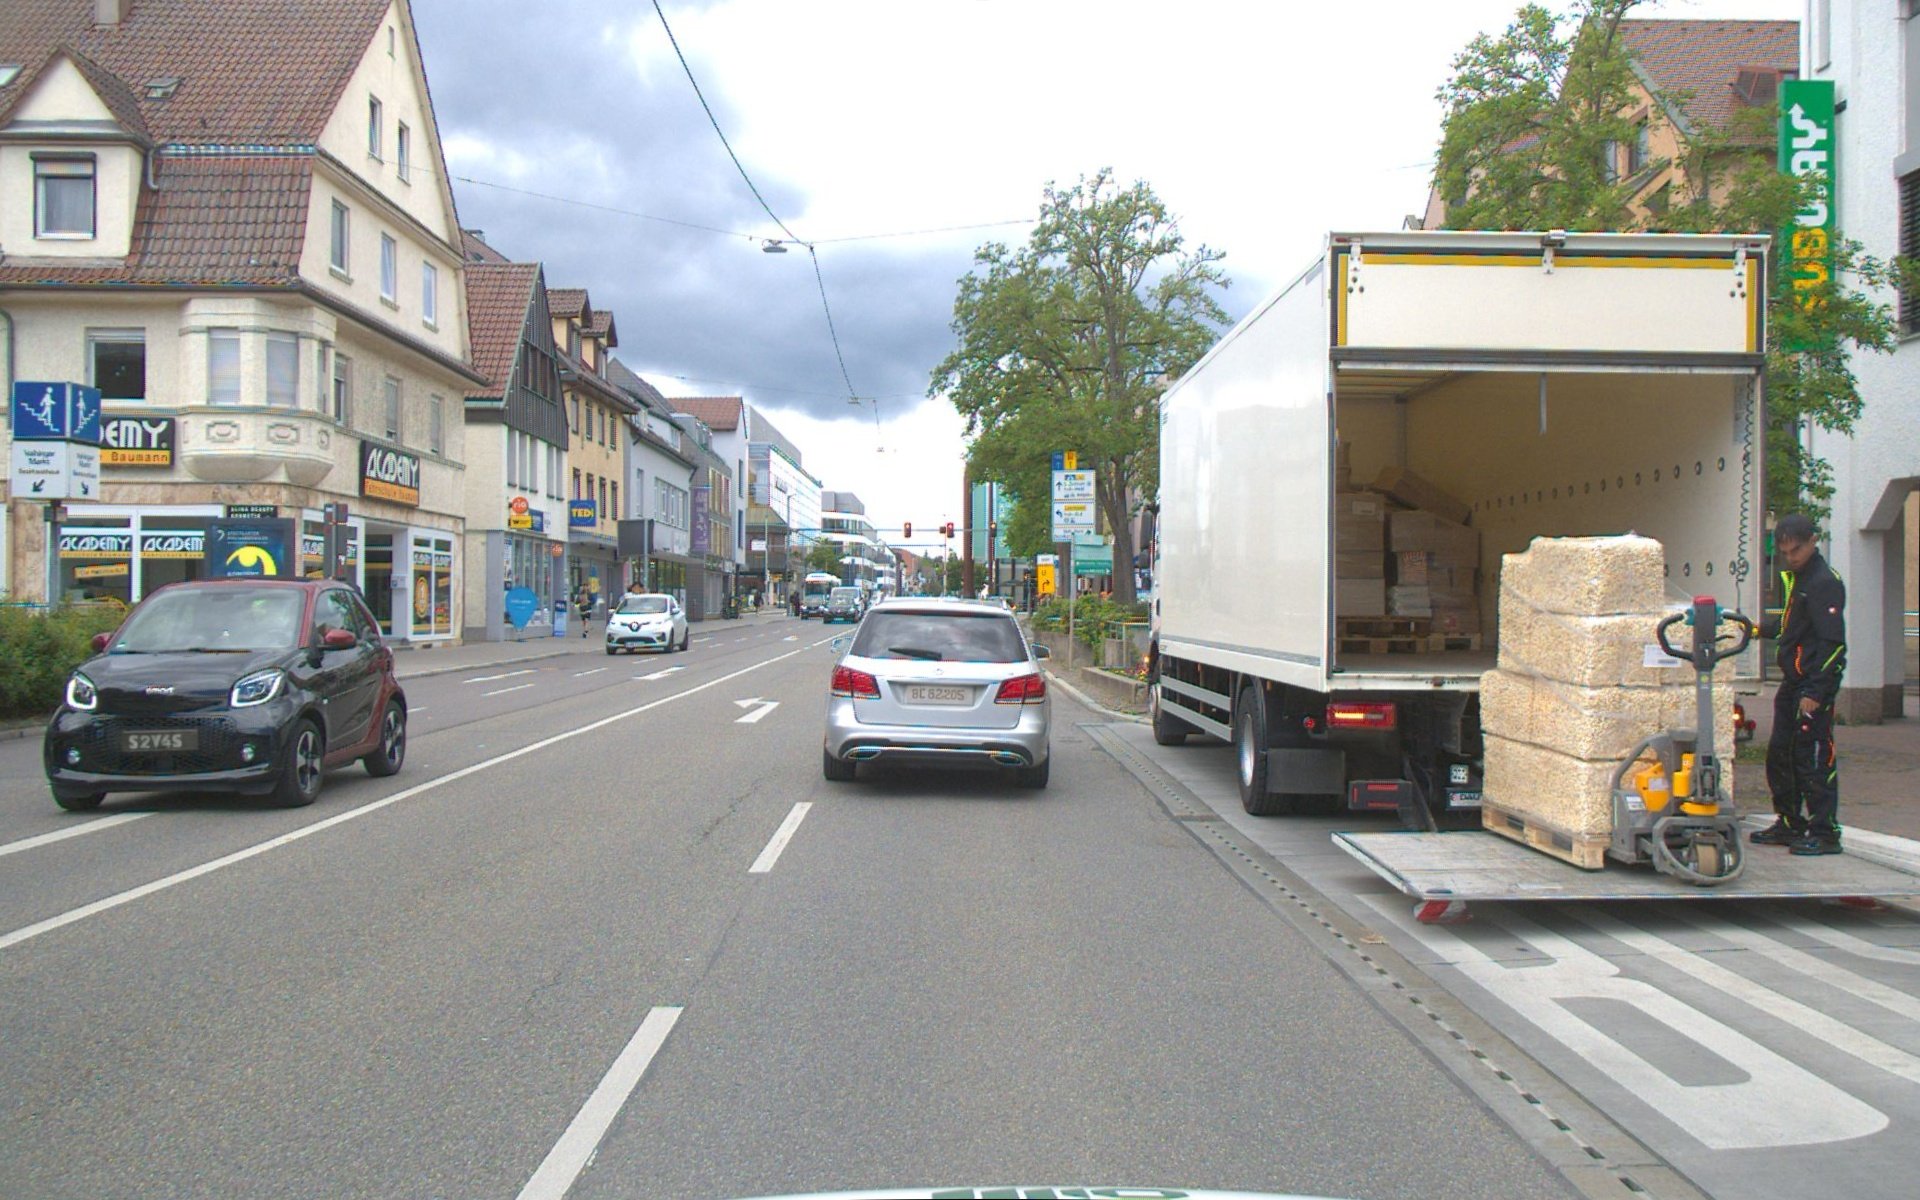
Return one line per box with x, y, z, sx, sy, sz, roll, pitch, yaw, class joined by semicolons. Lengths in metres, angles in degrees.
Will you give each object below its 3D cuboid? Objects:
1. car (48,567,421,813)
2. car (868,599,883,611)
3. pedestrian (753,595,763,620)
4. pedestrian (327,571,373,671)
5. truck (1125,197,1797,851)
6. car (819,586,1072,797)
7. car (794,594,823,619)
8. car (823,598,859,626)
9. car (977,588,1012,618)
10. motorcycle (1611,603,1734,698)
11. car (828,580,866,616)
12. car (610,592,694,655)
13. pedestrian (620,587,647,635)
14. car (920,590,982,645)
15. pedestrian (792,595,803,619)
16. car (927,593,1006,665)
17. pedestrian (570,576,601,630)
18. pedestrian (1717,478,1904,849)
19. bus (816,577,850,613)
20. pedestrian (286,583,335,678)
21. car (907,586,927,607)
-5.148;0.572;12.123;1.539;1.567;2.959;0;0;-3;car
-9.857;0.574;193.041;1.542;1.266;3.606;0;0;0;car
-13.592;0.508;111.223;0.574;1.663;0.614;3;0;-3;pedestrian
-11.568;0.391;31.367;0.620;1.856;0.680;0;0;-1;pedestrian
3.280;-0.438;14.079;2.634;3.623;9.764;0;0;-1;truck
-0.183;0.676;14.129;1.837;1.532;3.998;1;0;-3;car
-9.805;0.404;107.071;1.584;1.550;3.507;-1;0;-1;car
-6.319;0.629;87.946;1.584;1.453;3.922;0;0;0;car
2.024;0.188;97.711;1.953;1.713;4.000;0;0;0;car
10.202;0.695;23.774;0.722;1.293;2.106;0;0;-5;motorcycle
-6.708;-0.117;98.274;1.921;1.995;5.139;-1;0;-1;car
-8.157;0.620;44.076;1.607;1.595;3.925;0;-1;-2;car
-11.644;0.399;59.071;0.801;1.663;0.979;2;0;-6;pedestrian
-0.288;0.548;54.108;1.953;1.713;4.000;0;0;0;car
-11.349;0.502;115.562;0.601;1.663;0.588;3;0;-2;pedestrian
0.120;0.641;37.969;1.718;1.547;3.999;0;0;-1;car
-12.595;0.099;55.650;0.850;1.777;0.805;3;0;-5;pedestrian
4.301;0.311;8.396;0.601;1.811;0.587;0;-1;-4;pedestrian
-11.887;-0.467;154.857;2.718;3.220;5.932;0;0;0;bus
-12.427;0.582;31.649;0.673;1.792;0.680;0;0;-1;pedestrian
-4.237;-0.380;164.611;1.953;2.049;3.999;0;0;-1;car
